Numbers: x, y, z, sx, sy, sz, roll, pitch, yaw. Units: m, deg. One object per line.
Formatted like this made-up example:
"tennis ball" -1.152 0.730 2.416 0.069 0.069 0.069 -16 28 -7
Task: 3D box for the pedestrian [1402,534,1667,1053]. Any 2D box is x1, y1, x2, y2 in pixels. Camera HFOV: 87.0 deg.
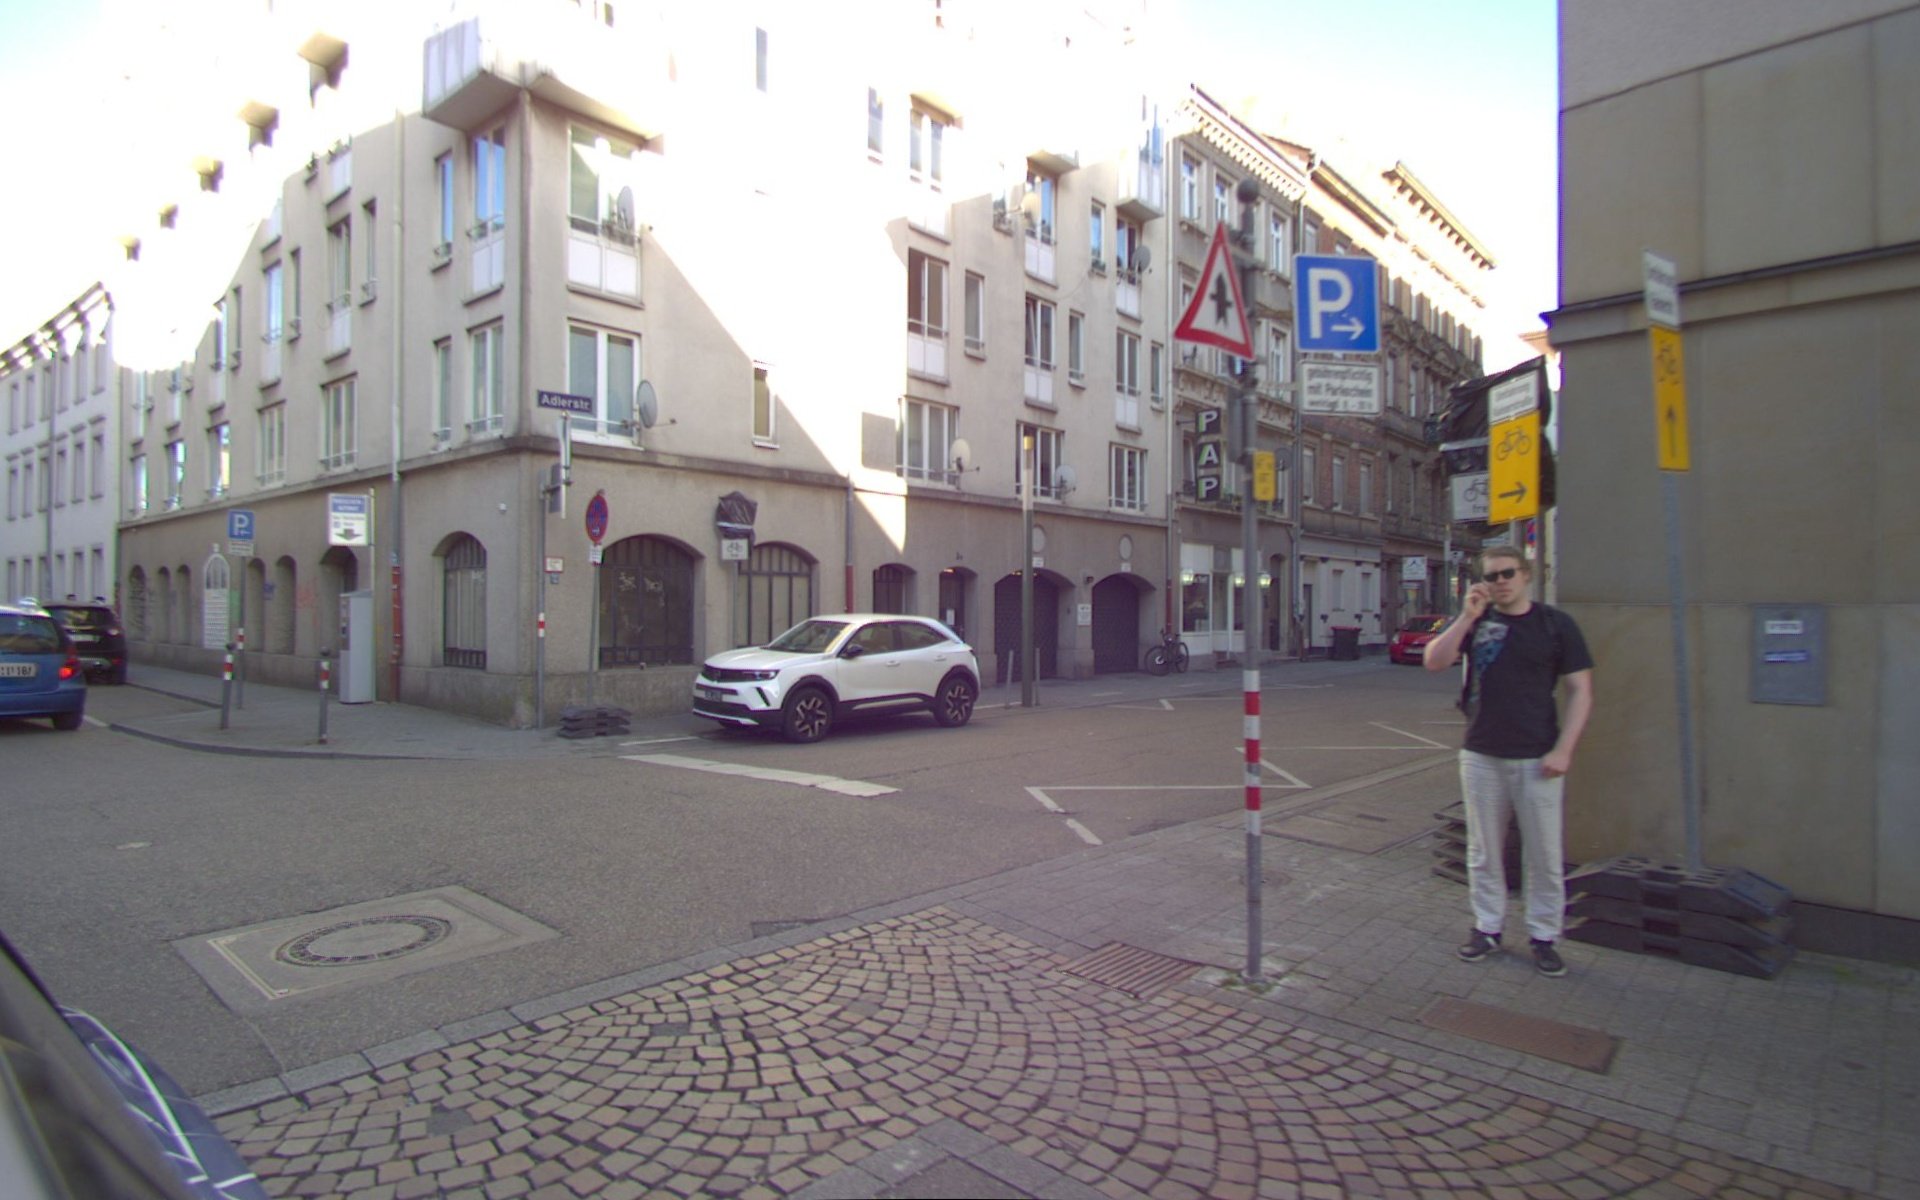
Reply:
"pedestrian" 2.399 0.708 4.211 0.849 1.868 0.716 4 -2 -45

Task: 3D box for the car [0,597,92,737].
"car" -12.664 0.808 12.633 3.797 1.605 1.835 -2 -3 35

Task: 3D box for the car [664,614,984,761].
"car" -1.682 1.042 13.405 3.910 1.605 1.745 2 -1 -44

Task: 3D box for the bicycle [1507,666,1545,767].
"bicycle" 6.784 1.365 12.158 0.300 1.058 1.529 0 -1 26

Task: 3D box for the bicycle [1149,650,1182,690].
"bicycle" 4.879 1.651 24.019 1.049 0.864 0.219 -1 1 -43

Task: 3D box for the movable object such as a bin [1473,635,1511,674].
"movable object such as a bin" 20.083 2.045 38.188 1.082 1.359 0.896 2 0 39

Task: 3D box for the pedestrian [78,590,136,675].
"pedestrian" -20.897 0.783 24.808 0.698 2.029 0.926 0 -1 37

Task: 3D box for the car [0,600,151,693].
"car" -18.231 0.878 20.724 3.997 1.717 1.864 0 -1 41

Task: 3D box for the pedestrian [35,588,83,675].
"pedestrian" -21.448 0.751 24.092 0.698 2.029 0.707 0 -1 38

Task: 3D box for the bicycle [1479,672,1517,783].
"bicycle" 6.048 1.385 11.404 0.300 1.058 1.776 0 -1 26

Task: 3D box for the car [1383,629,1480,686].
"car" 14.599 1.711 31.218 1.792 1.536 3.948 2 0 39

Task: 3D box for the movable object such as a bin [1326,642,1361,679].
"movable object such as a bin" 11.868 1.869 31.325 0.836 1.056 0.745 1 1 37
